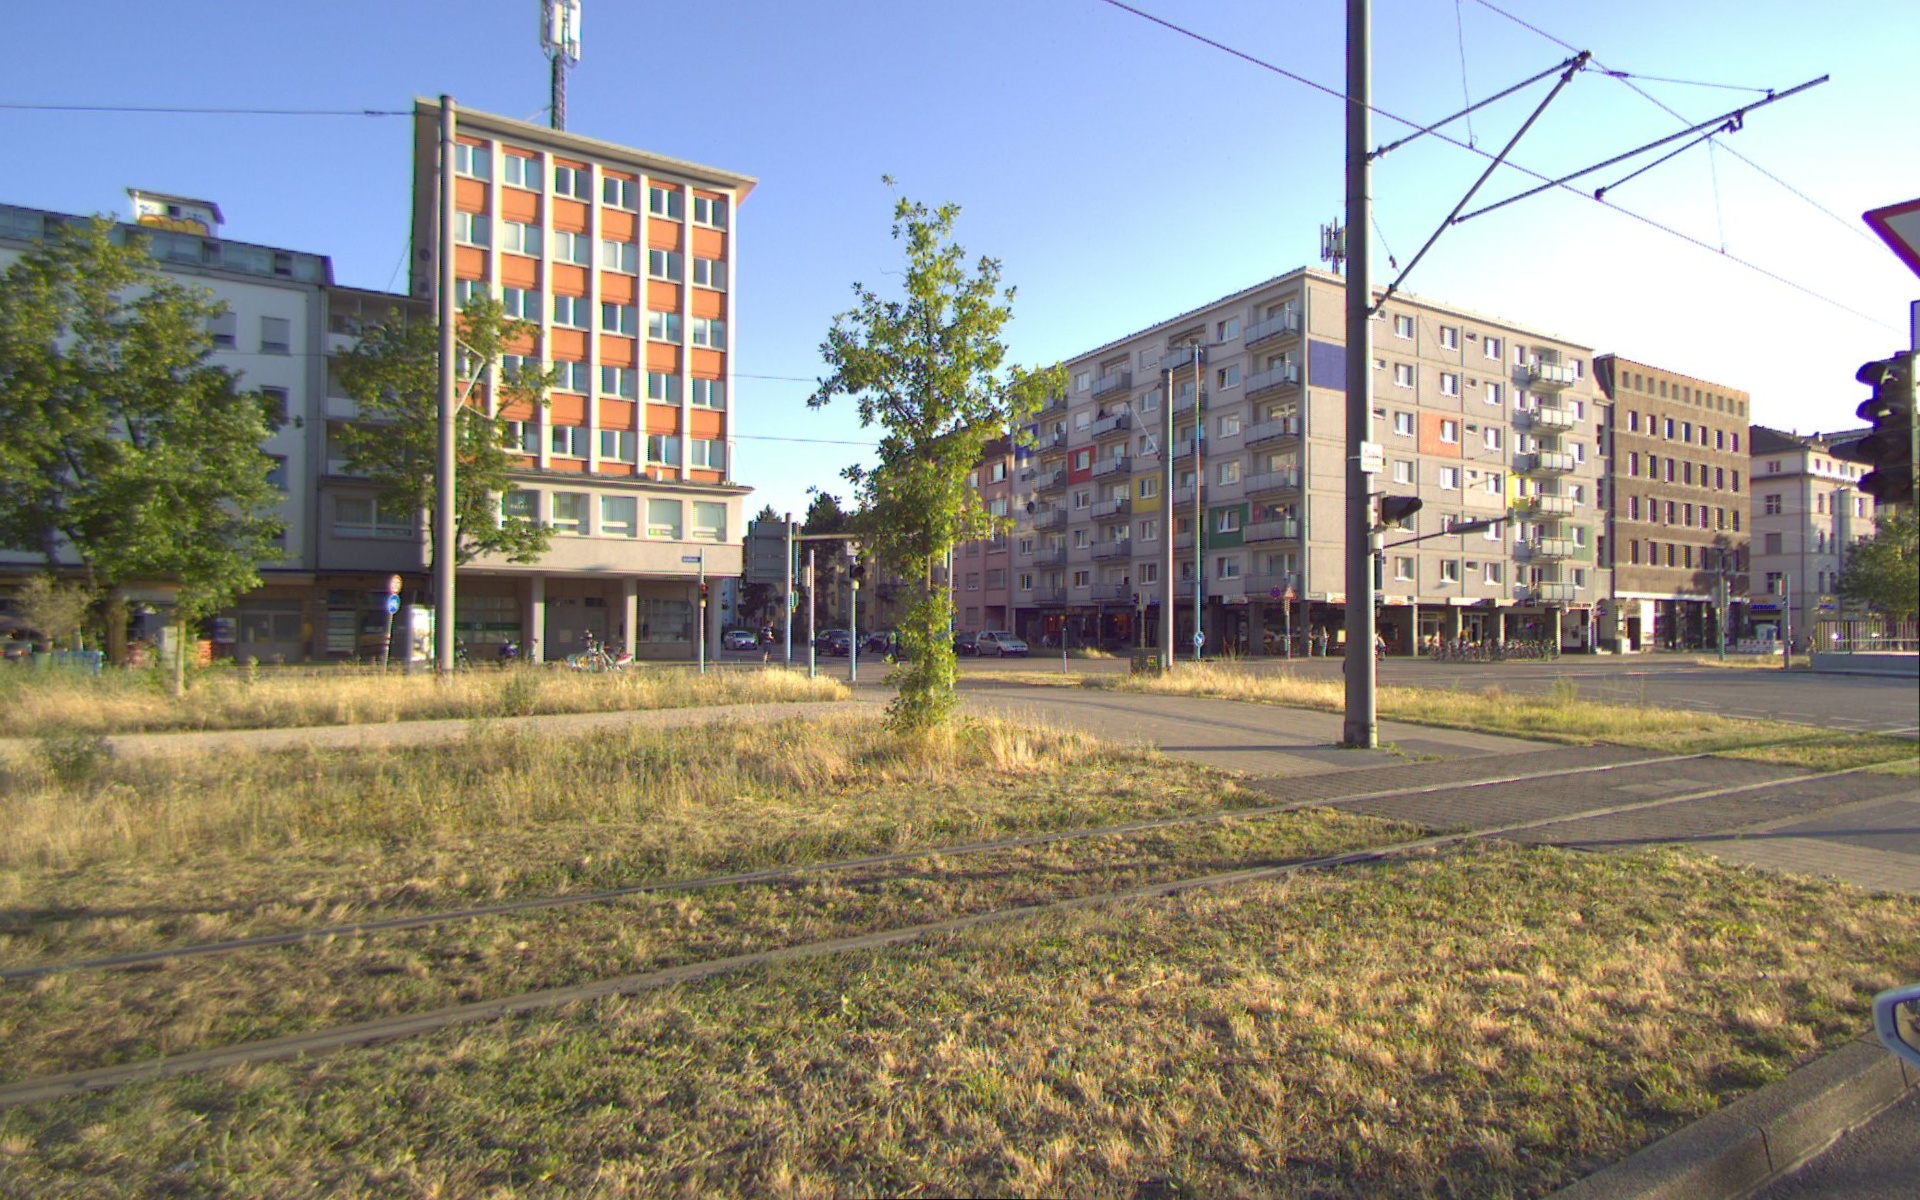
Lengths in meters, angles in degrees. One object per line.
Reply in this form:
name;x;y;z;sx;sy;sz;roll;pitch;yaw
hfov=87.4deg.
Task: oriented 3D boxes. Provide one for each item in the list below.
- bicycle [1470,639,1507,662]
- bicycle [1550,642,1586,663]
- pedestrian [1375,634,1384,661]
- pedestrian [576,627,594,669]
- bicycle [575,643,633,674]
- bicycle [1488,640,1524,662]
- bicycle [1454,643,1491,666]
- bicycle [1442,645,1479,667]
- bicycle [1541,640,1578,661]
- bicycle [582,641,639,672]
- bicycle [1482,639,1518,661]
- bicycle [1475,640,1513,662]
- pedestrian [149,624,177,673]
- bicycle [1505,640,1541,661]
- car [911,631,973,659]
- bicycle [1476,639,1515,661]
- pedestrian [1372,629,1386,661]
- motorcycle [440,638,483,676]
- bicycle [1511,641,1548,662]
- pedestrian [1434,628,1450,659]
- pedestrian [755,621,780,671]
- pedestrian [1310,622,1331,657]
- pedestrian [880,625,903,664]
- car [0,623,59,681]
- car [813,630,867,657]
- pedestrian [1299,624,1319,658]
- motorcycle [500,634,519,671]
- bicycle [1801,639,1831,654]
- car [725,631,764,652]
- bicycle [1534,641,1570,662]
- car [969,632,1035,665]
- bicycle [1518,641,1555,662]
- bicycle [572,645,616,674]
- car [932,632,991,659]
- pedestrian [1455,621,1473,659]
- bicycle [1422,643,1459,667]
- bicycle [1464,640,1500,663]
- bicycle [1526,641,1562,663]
bicycle;28.710;2.743;54.565;0.561;1.197;1.761;1;-2;-29
bicycle;35.180;3.014;58.164;0.688;1.159;1.684;1;-1;-28
pedestrian;21.718;2.470;51.995;0.376;1.401;0.394;0;-1;32
pedestrian;-16.254;2.086;43.560;0.623;1.792;0.593;1;-1;-30
bicycle;-13.266;2.170;37.433;1.972;1.089;0.465;1;-1;-31
bicycle;30.741;2.855;56.539;0.598;1.151;1.763;1;-2;-29
bicycle;27.623;2.938;54.130;0.592;1.154;1.749;1;-2;-29
bicycle;26.930;3.003;54.100;0.601;1.157;1.768;1;-2;-29
bicycle;34.529;2.914;57.853;0.739;1.185;1.684;1;-1;-28
bicycle;-12.555;2.026;36.094;1.885;1.089;0.465;1;-1;-31
bicycle;30.194;2.783;56.164;0.598;1.174;1.768;1;-2;-29
bicycle;29.649;2.802;55.815;0.632;1.176;1.823;1;-2;-29
pedestrian;-29.434;1.781;37.097;0.696;1.816;0.590;1;-1;-30
bicycle;31.533;2.842;56.242;0.545;1.132;1.747;1;-2;-29
car;-1.053;2.533;57.027;1.974;1.505;3.974;3;-3;-26
bicycle;29.257;2.723;54.903;0.644;1.206;1.780;1;-2;-30
pedestrian;21.457;2.313;51.441;0.563;1.641;0.602;0;-1;29
motorcycle;-17.787;2.025;35.852;1.373;1.335;0.378;1;-1;-28
bicycle;32.040;2.872;56.522;0.561;1.134;1.753;1;-2;-29
pedestrian;26.673;2.417;55.621;0.540;1.706;0.577;1;-1;-28
pedestrian;-7.811;1.857;40.830;0.708;1.972;0.720;-1;-2;43
pedestrian;19.656;2.141;54.785;0.728;1.866;0.780;1;-2;-38
pedestrian;-3.249;2.115;47.926;0.879;1.855;0.885;1;-1;-20
car;-30.094;1.548;30.229;3.927;1.706;1.997;1;-1;-9
car;-7.366;2.631;61.403;1.975;1.551;3.971;1;-1;-28
pedestrian;19.608;2.290;56.417;0.715;1.837;0.819;2;-1;-40
motorcycle;-17.023;1.976;37.916;0.538;1.335;1.823;1;-1;-27
bicycle;55.988;3.066;65.680;1.636;0.957;0.509;0;-1;-5
car;-16.908;3.218;78.767;1.975;1.551;3.971;1;-2;-28
bicycle;33.861;2.941;57.476;0.739;1.194;1.684;1;-1;-28
car;2.275;2.653;55.597;1.974;1.506;3.973;2;1;-26
bicycle;32.594;2.895;56.813;0.626;1.139;1.720;2;-2;-28
bicycle;-14.056;2.277;38.574;1.543;1.089;0.392;1;-1;-31
car;0.070;2.677;59.778;1.974;1.505;3.974;1;-2;-26
pedestrian;29.435;2.307;58.685;0.783;2.207;0.599;1;-1;-30
bicycle;25.805;2.949;53.950;0.631;1.224;1.786;1;-2;-30
bicycle;28.193;2.752;54.279;0.534;1.183;1.758;1;-1;-29
bicycle;33.205;2.943;57.122;0.696;1.168;1.684;1;-1;-28
